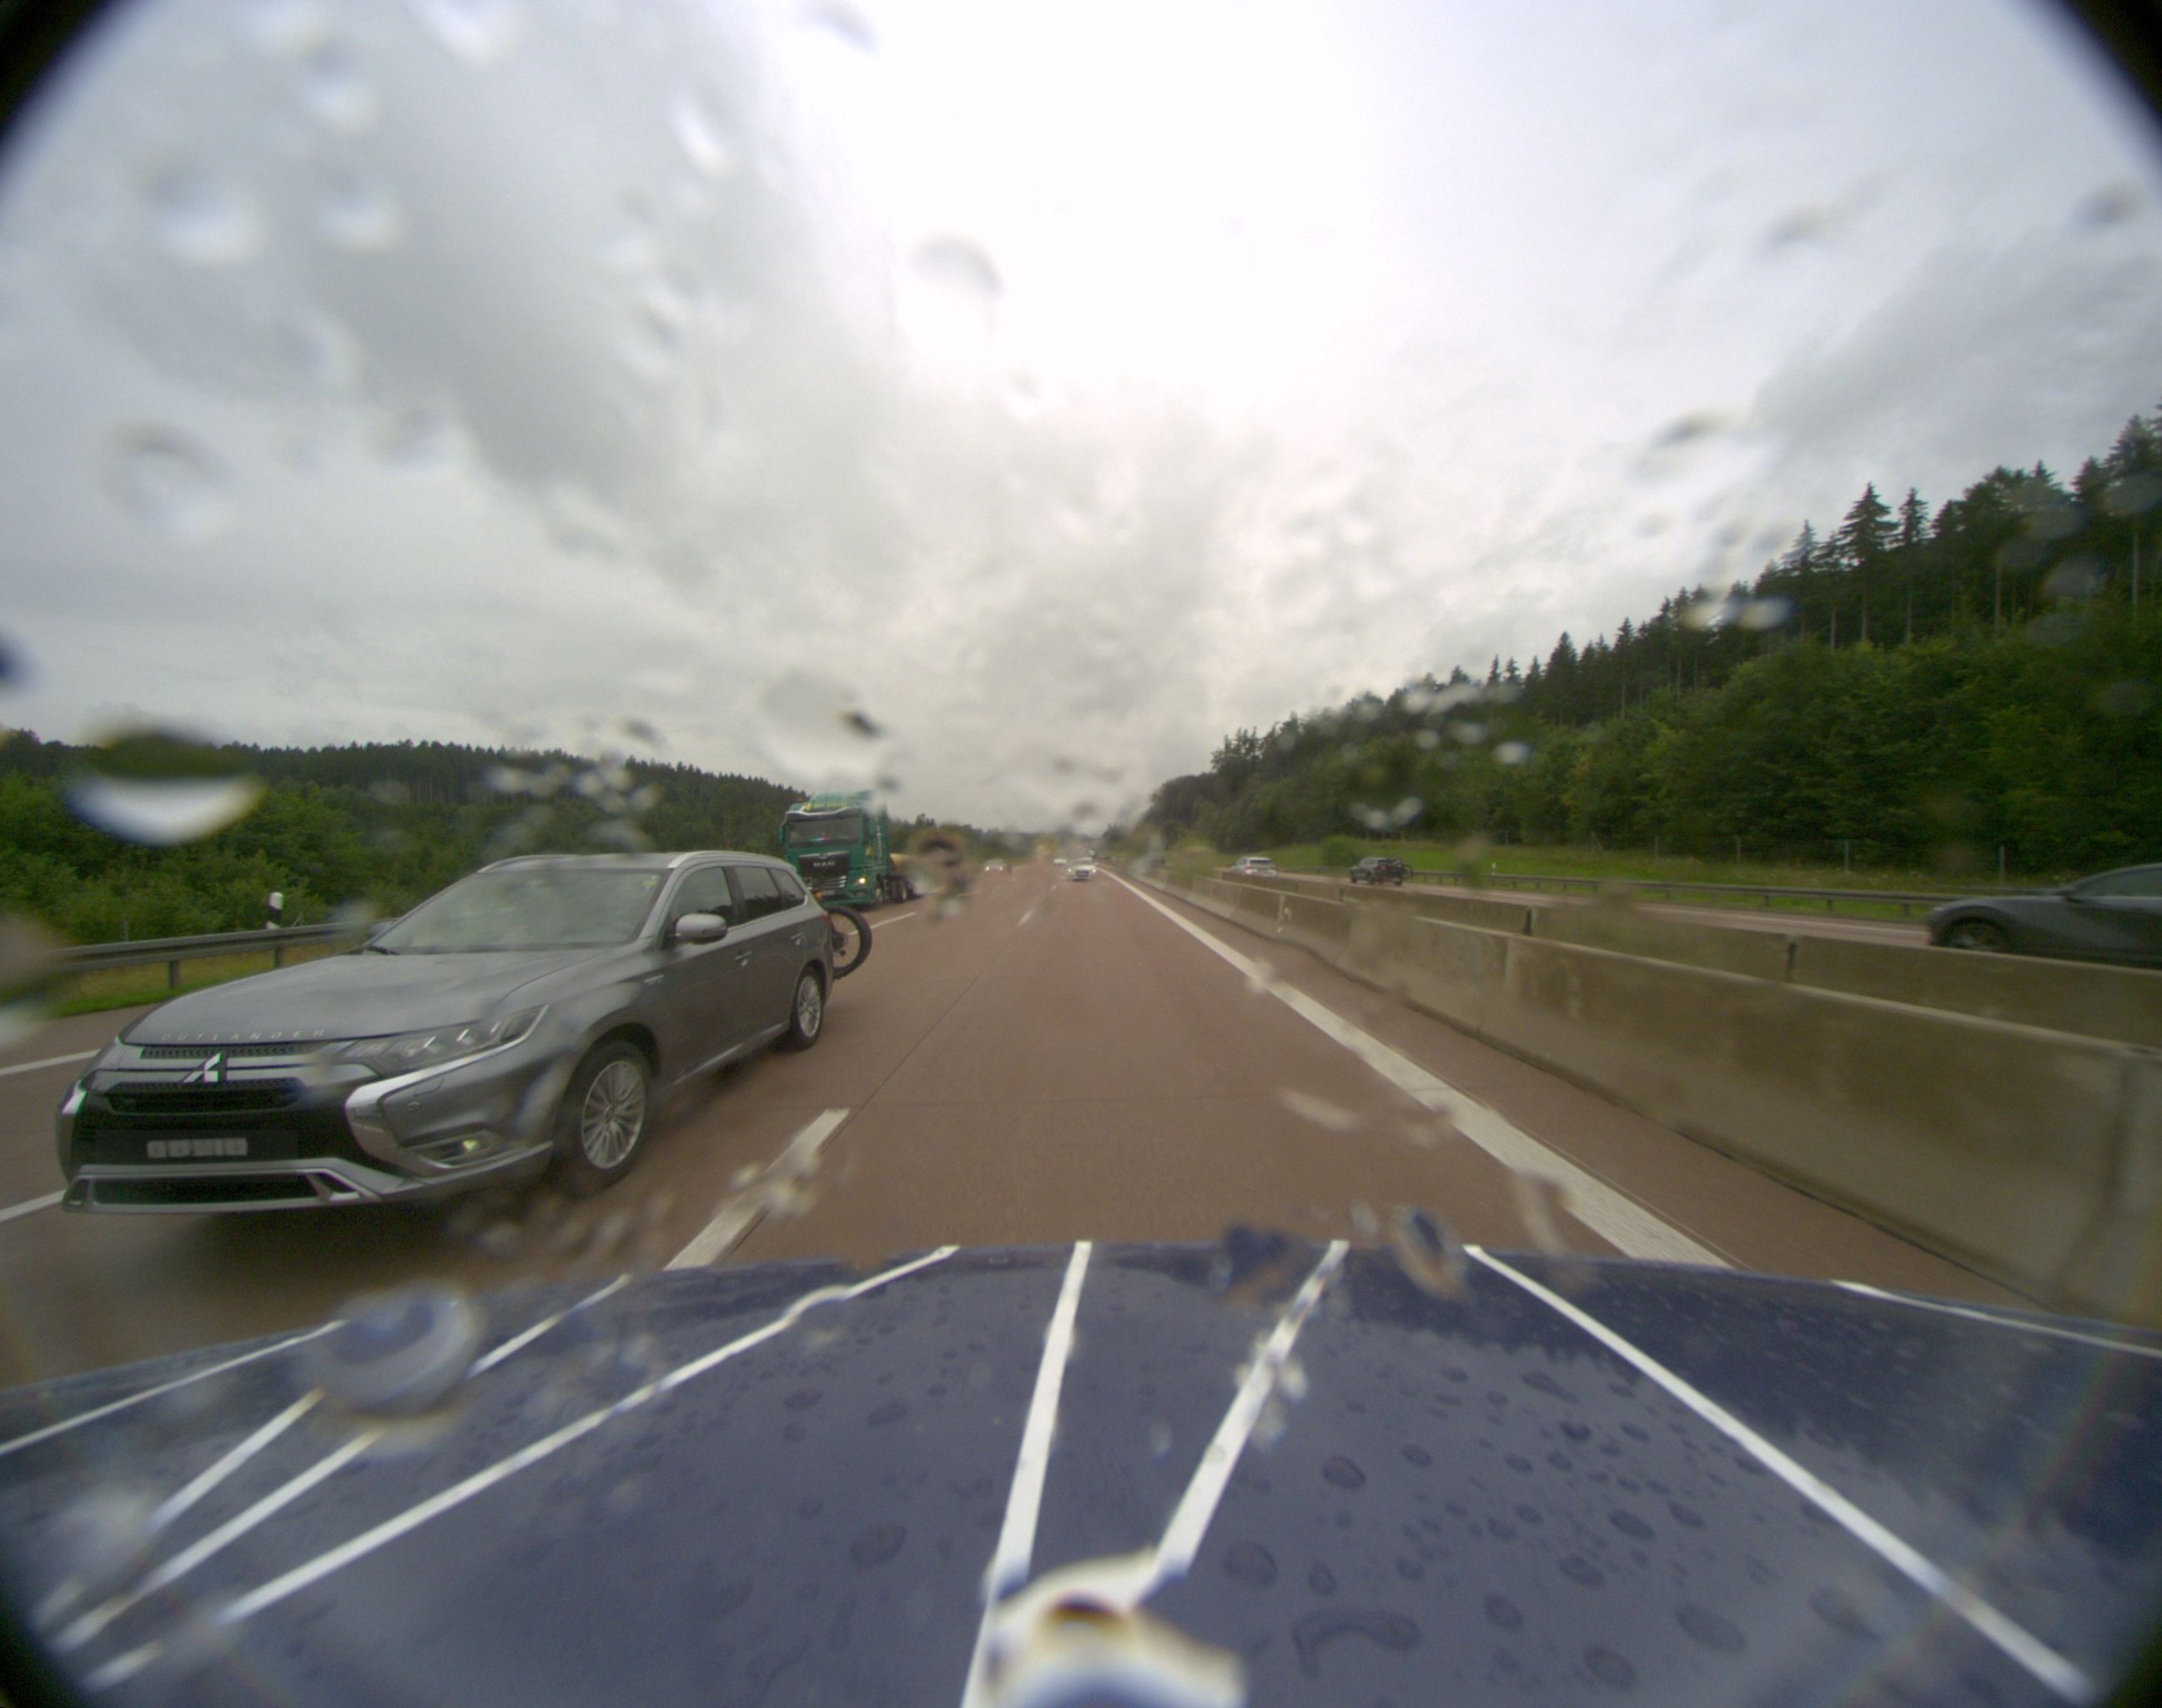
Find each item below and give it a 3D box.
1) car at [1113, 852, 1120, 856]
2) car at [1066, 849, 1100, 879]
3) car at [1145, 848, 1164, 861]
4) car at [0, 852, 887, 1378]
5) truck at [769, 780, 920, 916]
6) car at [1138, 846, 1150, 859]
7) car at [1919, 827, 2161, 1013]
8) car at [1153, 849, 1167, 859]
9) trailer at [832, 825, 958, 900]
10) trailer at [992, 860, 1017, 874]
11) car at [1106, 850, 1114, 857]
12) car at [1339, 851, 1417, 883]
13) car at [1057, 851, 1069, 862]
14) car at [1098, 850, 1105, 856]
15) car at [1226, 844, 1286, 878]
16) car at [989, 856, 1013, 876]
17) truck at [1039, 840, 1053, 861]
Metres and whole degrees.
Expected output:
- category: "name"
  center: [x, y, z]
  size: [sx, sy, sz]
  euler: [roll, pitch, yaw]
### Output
- category: "car"
  center: [10.587, -0.007, 227.832]
  size: [1.654, 1.381, 4.809]
  euler: [2, 0, -1]
- category: "car"
  center: [0.086, 0.584, 47.959]
  size: [1.999, 1.623, 4.929]
  euler: [-2, 1, -1]
- category: "car"
  center: [8.788, 0.057, 91.401]
  size: [1.869, 1.542, 4.807]
  euler: [-2, 0, 1]
- category: "car"
  center: [-3.184, 0.883, 5.442]
  size: [1.998, 1.584, 5.818]
  euler: [-2, 1, 0]
- category: "truck"
  center: [-7.769, -0.264, 26.074]
  size: [2.905, 3.942, 6.986]
  euler: [-2, 2, -1]
- category: "car"
  center: [14.682, -0.376, 177.014]
  size: [2.229, 2.570, 6.253]
  euler: [-2, 2, 0]
- category: "car"
  center: [12.250, 0.687, 7.239]
  size: [2.286, 1.851, 5.727]
  euler: [-2, 1, 1]
- category: "car"
  center: [12.302, -0.031, 118.648]
  size: [1.720, 1.573, 4.315]
  euler: [0, 1, 0]
- category: "trailer"
  center: [-7.836, 0.179, 34.030]
  size: [2.889, 2.660, 11.394]
  euler: [-2, 1, -1]
- category: "trailer"
  center: [-7.191, 1.196, 72.016]
  size: [1.977, 1.159, 4.638]
  euler: [-2, 0, -1]
- category: "car"
  center: [8.123, -0.093, 211.864]
  size: [1.998, 1.816, 4.686]
  euler: [0, 0, 0]
- category: "car"
  center: [16.729, 0.678, 43.110]
  size: [1.999, 1.551, 5.742]
  euler: [-2, 1, -2]
- category: "car"
  center: [-2.992, 0.381, 126.460]
  size: [1.999, 1.623, 4.929]
  euler: [-2, 1, -1]
- category: "car"
  center: [6.430, -0.293, 240.221]
  size: [1.999, 2.002, 5.525]
  euler: [0, 0, -2]
- category: "car"
  center: [9.125, 0.310, 39.989]
  size: [1.998, 1.551, 4.945]
  euler: [-2, 1, 1]
- category: "car"
  center: [-7.025, 1.026, 67.379]
  size: [1.702, 1.602, 4.974]
  euler: [-1, 1, -2]
- category: "truck"
  center: [-7.257, -0.770, 158.326]
  size: [2.610, 4.190, 6.248]
  euler: [-2, 2, -1]
